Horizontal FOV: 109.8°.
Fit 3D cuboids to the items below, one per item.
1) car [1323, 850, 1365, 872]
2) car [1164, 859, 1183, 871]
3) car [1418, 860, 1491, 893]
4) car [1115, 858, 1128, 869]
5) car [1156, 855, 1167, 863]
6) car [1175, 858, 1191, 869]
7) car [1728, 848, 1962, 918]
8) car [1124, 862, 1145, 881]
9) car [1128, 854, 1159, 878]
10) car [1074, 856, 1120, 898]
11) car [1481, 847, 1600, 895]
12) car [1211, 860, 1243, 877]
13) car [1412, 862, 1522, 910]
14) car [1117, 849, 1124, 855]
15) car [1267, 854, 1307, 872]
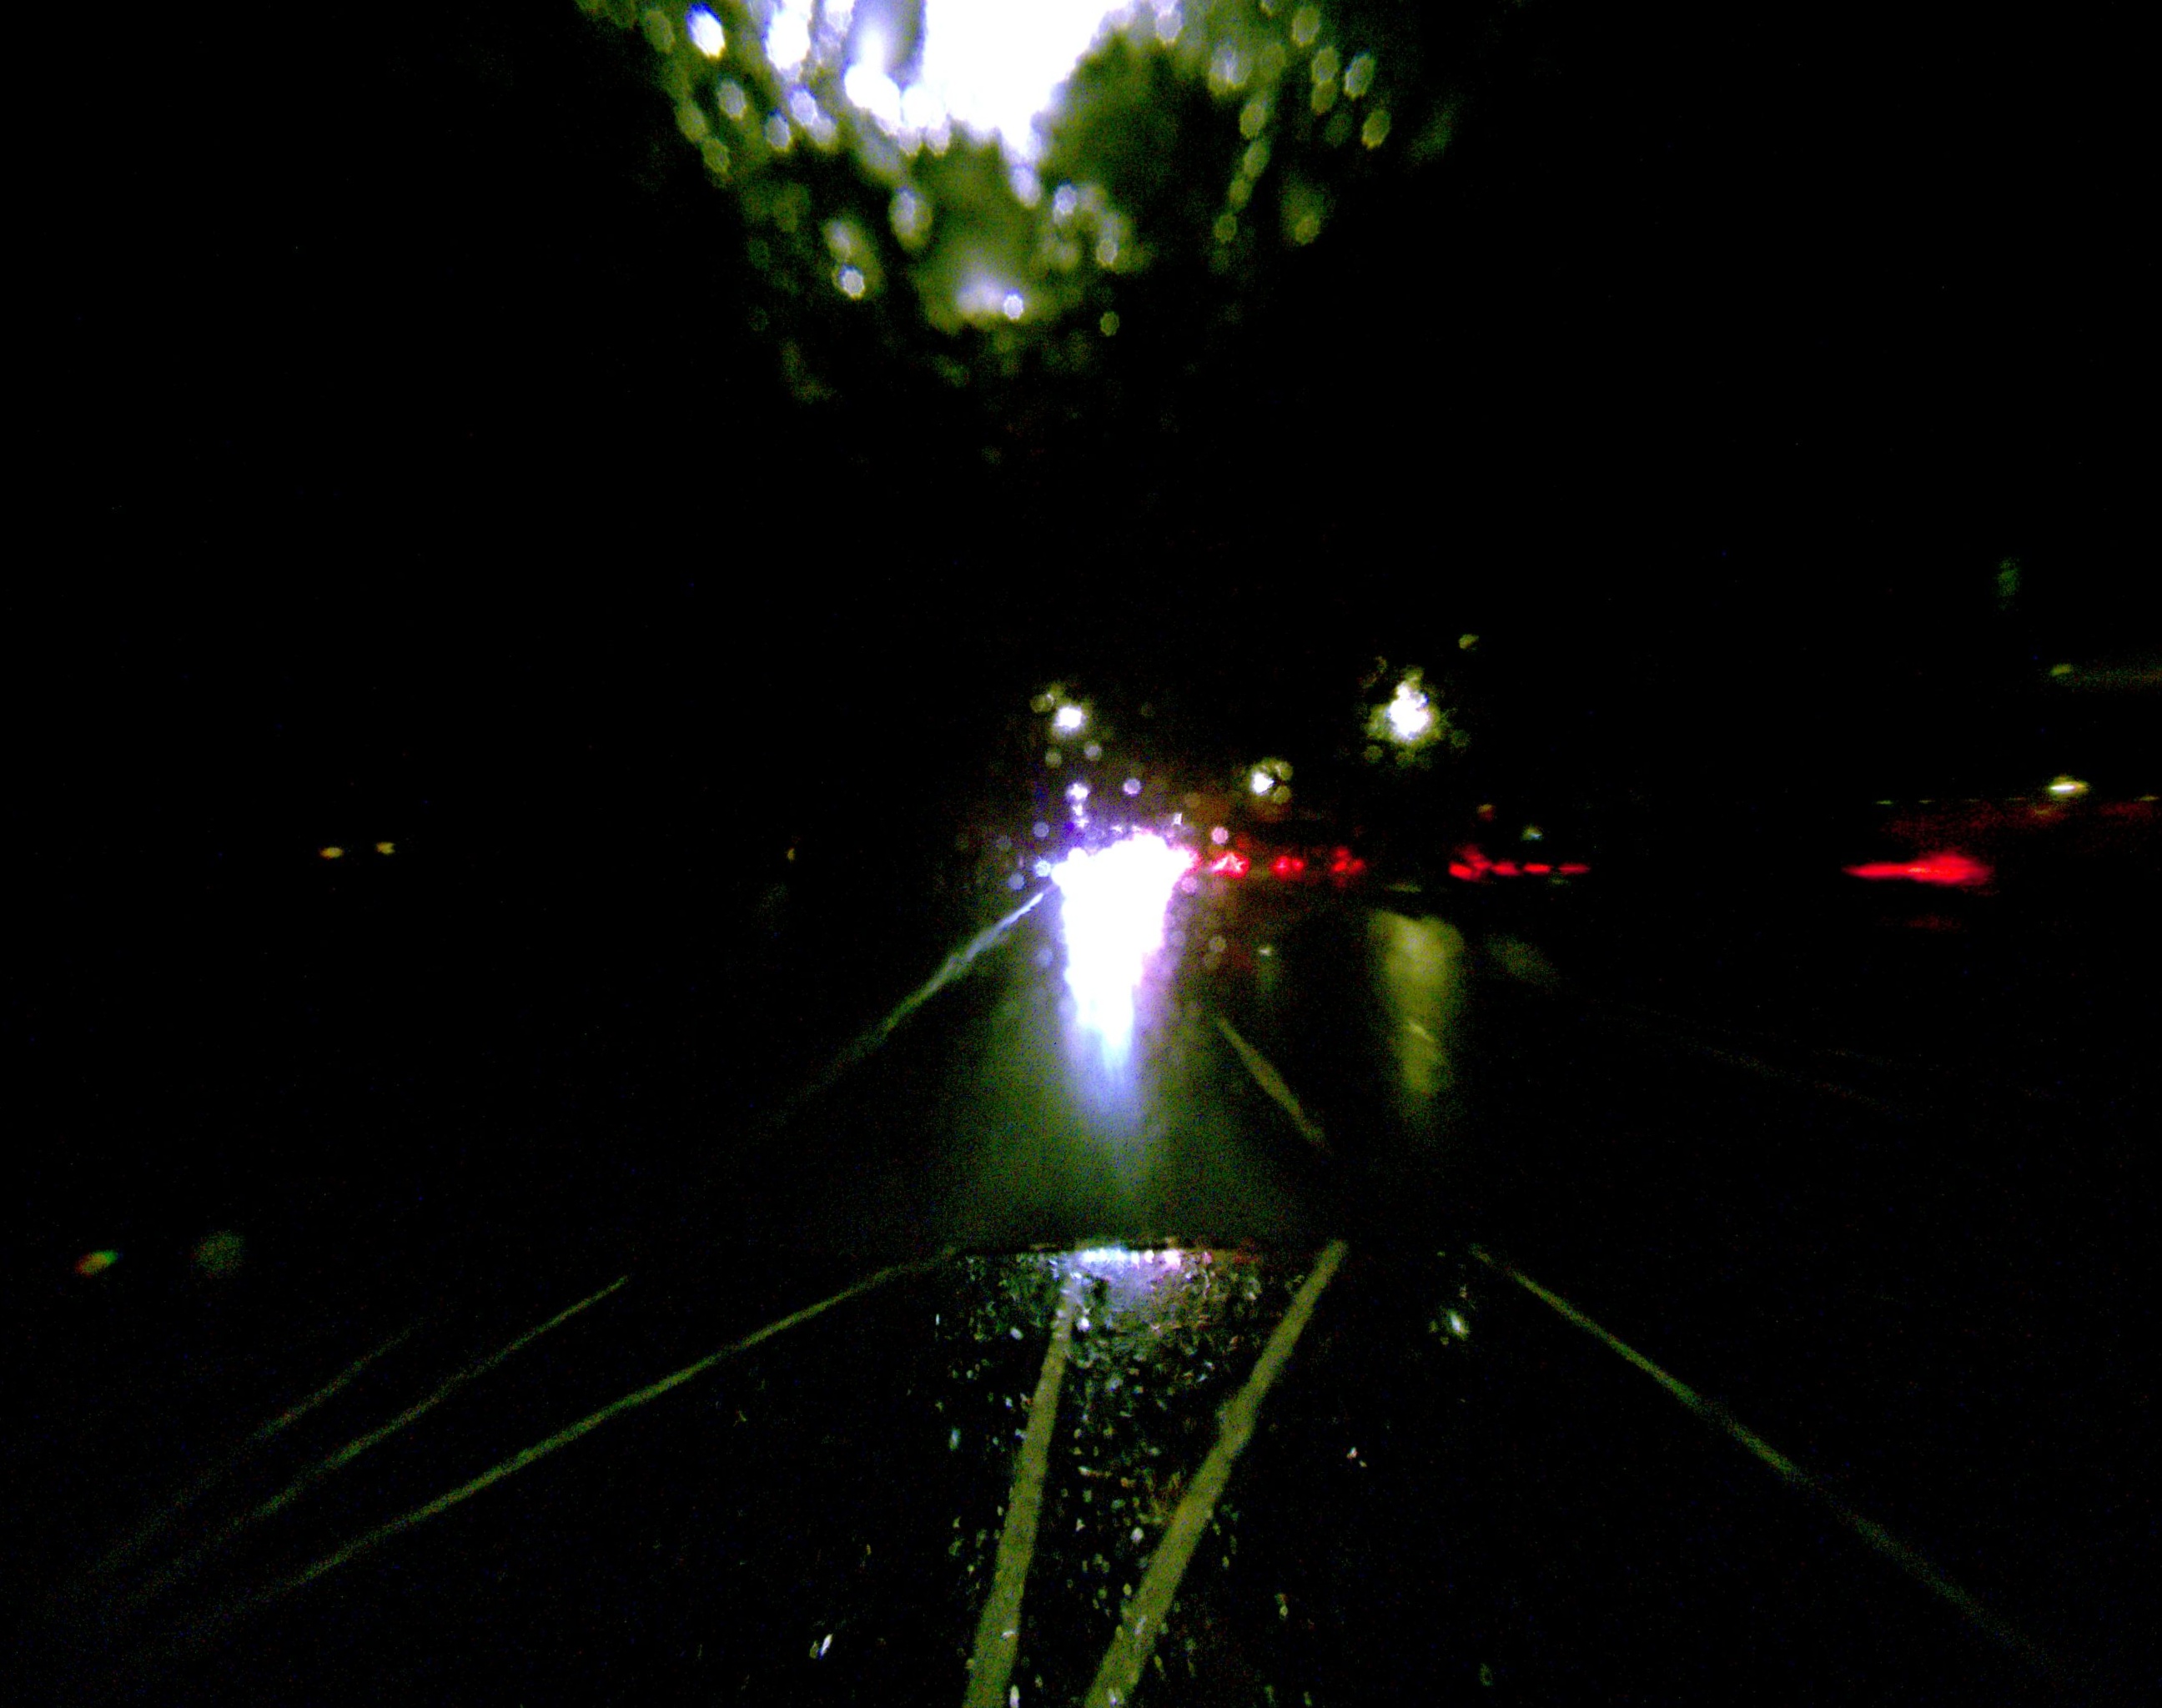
[{"bbox_3d":[20.366,0.524,59.111,1.847,1.583,4.366,-2,0,2],"label":"car"},{"bbox_3d":[12.354,1.456,101.626,1.848,1.583,4.256,2,0,0],"label":"car"},{"bbox_3d":[20.092,1.183,41.073,1.847,1.583,4.366,-2,0,2],"label":"car"},{"bbox_3d":[6.605,1.576,124.181,1.833,1.696,4.194,-2,0,1],"label":"car"},{"bbox_3d":[16.400,1.063,154.816,1.711,1.568,3.820,-2,0,0],"label":"car"},{"bbox_3d":[14.783,1.343,110.605,1.711,1.568,3.820,-2,0,0],"label":"car"},{"bbox_3d":[19.833,0.684,20.061,1.847,1.583,4.366,-2,0,2],"label":"car"},{"bbox_3d":[5.381,1.725,76.348,1.833,1.696,4.194,-2,0,1],"label":"car"},{"bbox_3d":[4.325,0.800,53.233,1.833,1.518,4.874,-2,0,1],"label":"car"},{"bbox_3d":[0.722,1.016,35.276,1.950,1.709,4.442,-2,0,1],"label":"car"},{"bbox_3d":[16.951,0.565,28.302,1.847,1.583,4.366,-2,0,2],"label":"car"},{"bbox_3d":[14.669,1.411,76.633,1.848,1.583,5.325,-2,0,-3],"label":"car"},{"bbox_3d":[13.813,1.098,27.492,1.847,1.478,4.366,-2,0,2],"label":"car"},{"bbox_3d":[11.133,-0.589,212.897,1.833,1.696,4.194,-2,0,1],"label":"car"},{"bbox_3d":[17.457,0.748,64.706,1.848,1.350,5.558,-2,0,-1],"label":"car"}]
